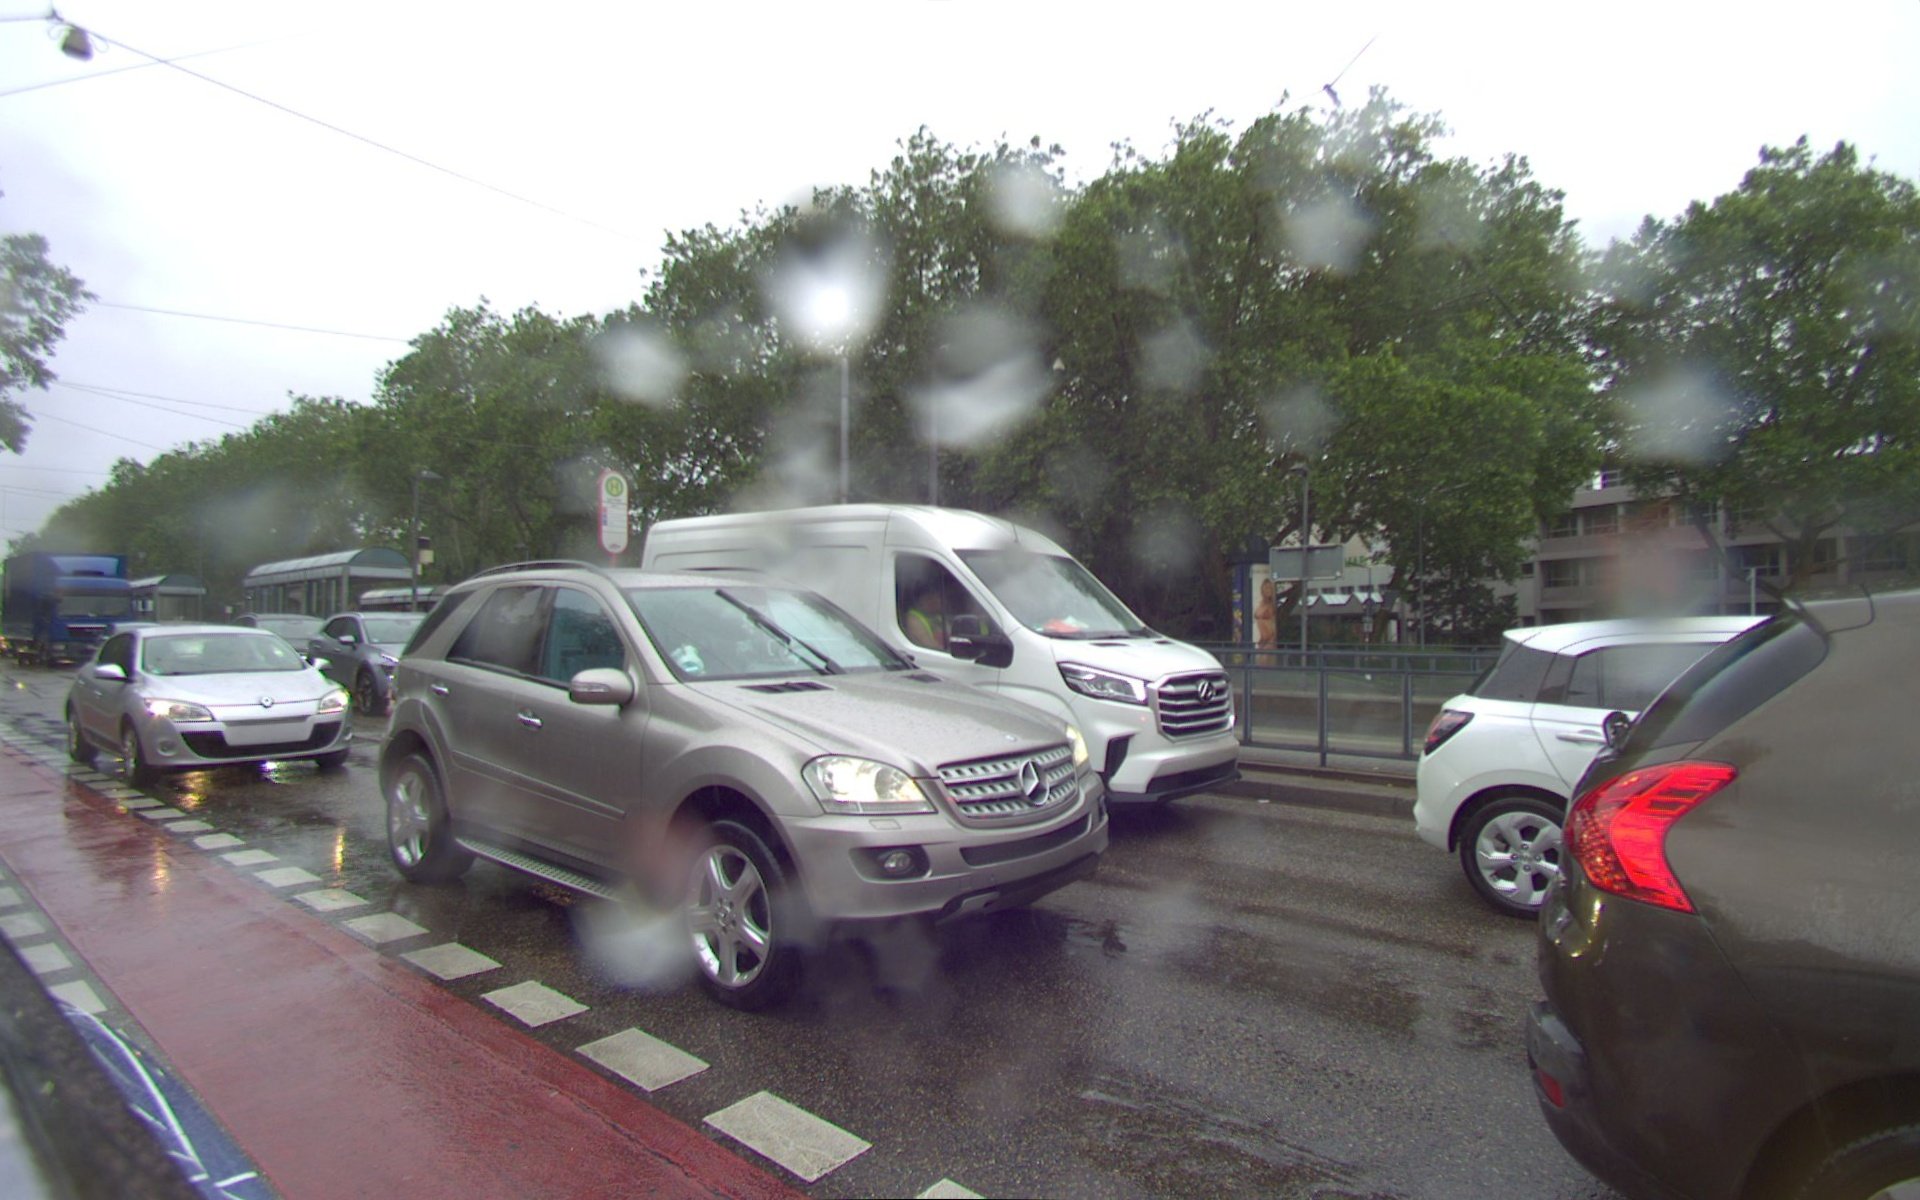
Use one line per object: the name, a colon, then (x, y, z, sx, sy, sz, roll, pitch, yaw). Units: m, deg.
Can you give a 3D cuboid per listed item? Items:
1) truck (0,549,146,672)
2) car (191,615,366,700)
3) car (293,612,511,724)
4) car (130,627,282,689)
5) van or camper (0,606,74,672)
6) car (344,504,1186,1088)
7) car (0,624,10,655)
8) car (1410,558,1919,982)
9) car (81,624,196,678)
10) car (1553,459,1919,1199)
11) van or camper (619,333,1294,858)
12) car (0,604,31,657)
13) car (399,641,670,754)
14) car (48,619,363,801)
truck: (-32.183, 0.457, 36.365, 9.803, 3.919, 2.513, -1, -3, 40)
car: (-14.643, 1.168, 21.668, 4.316, 1.633, 1.974, -1, -2, 40)
car: (-9.501, 1.061, 17.080, 4.454, 1.636, 1.894, -1, -2, 43)
car: (-18.824, 1.387, 25.194, 4.602, 1.405, 1.973, -1, -3, 40)
van or camper: (-40.035, 1.625, 43.537, 6.427, 2.590, 1.973, -1, 0, 41)
car: (-1.309, 0.631, 5.316, 4.459, 1.783, 2.004, -1, -1, 40)
car: (-52.347, 2.099, 54.058, 3.998, 1.589, 1.973, -1, -1, 41)
car: (4.276, 0.671, 4.526, 3.834, 1.641, 1.628, -1, -2, 41)
car: (-24.493, 1.463, 30.130, 4.073, 1.498, 1.871, -1, -2, 39)
car: (3.291, 0.596, 1.226, 4.170, 1.681, 1.815, -1, -1, 41)
van or camper: (-0.371, 0.033, 8.790, 5.846, 3.166, 2.136, -1, -2, 40)
car: (-46.821, 1.455, 49.207, 5.727, 2.445, 1.972, -1, 0, 43)
car: (-5.444, 1.117, 12.701, 4.084, 1.126, 1.448, -1, -1, 40)
car: (-7.857, 0.959, 10.412, 3.998, 1.489, 1.750, -1, -1, 40)
